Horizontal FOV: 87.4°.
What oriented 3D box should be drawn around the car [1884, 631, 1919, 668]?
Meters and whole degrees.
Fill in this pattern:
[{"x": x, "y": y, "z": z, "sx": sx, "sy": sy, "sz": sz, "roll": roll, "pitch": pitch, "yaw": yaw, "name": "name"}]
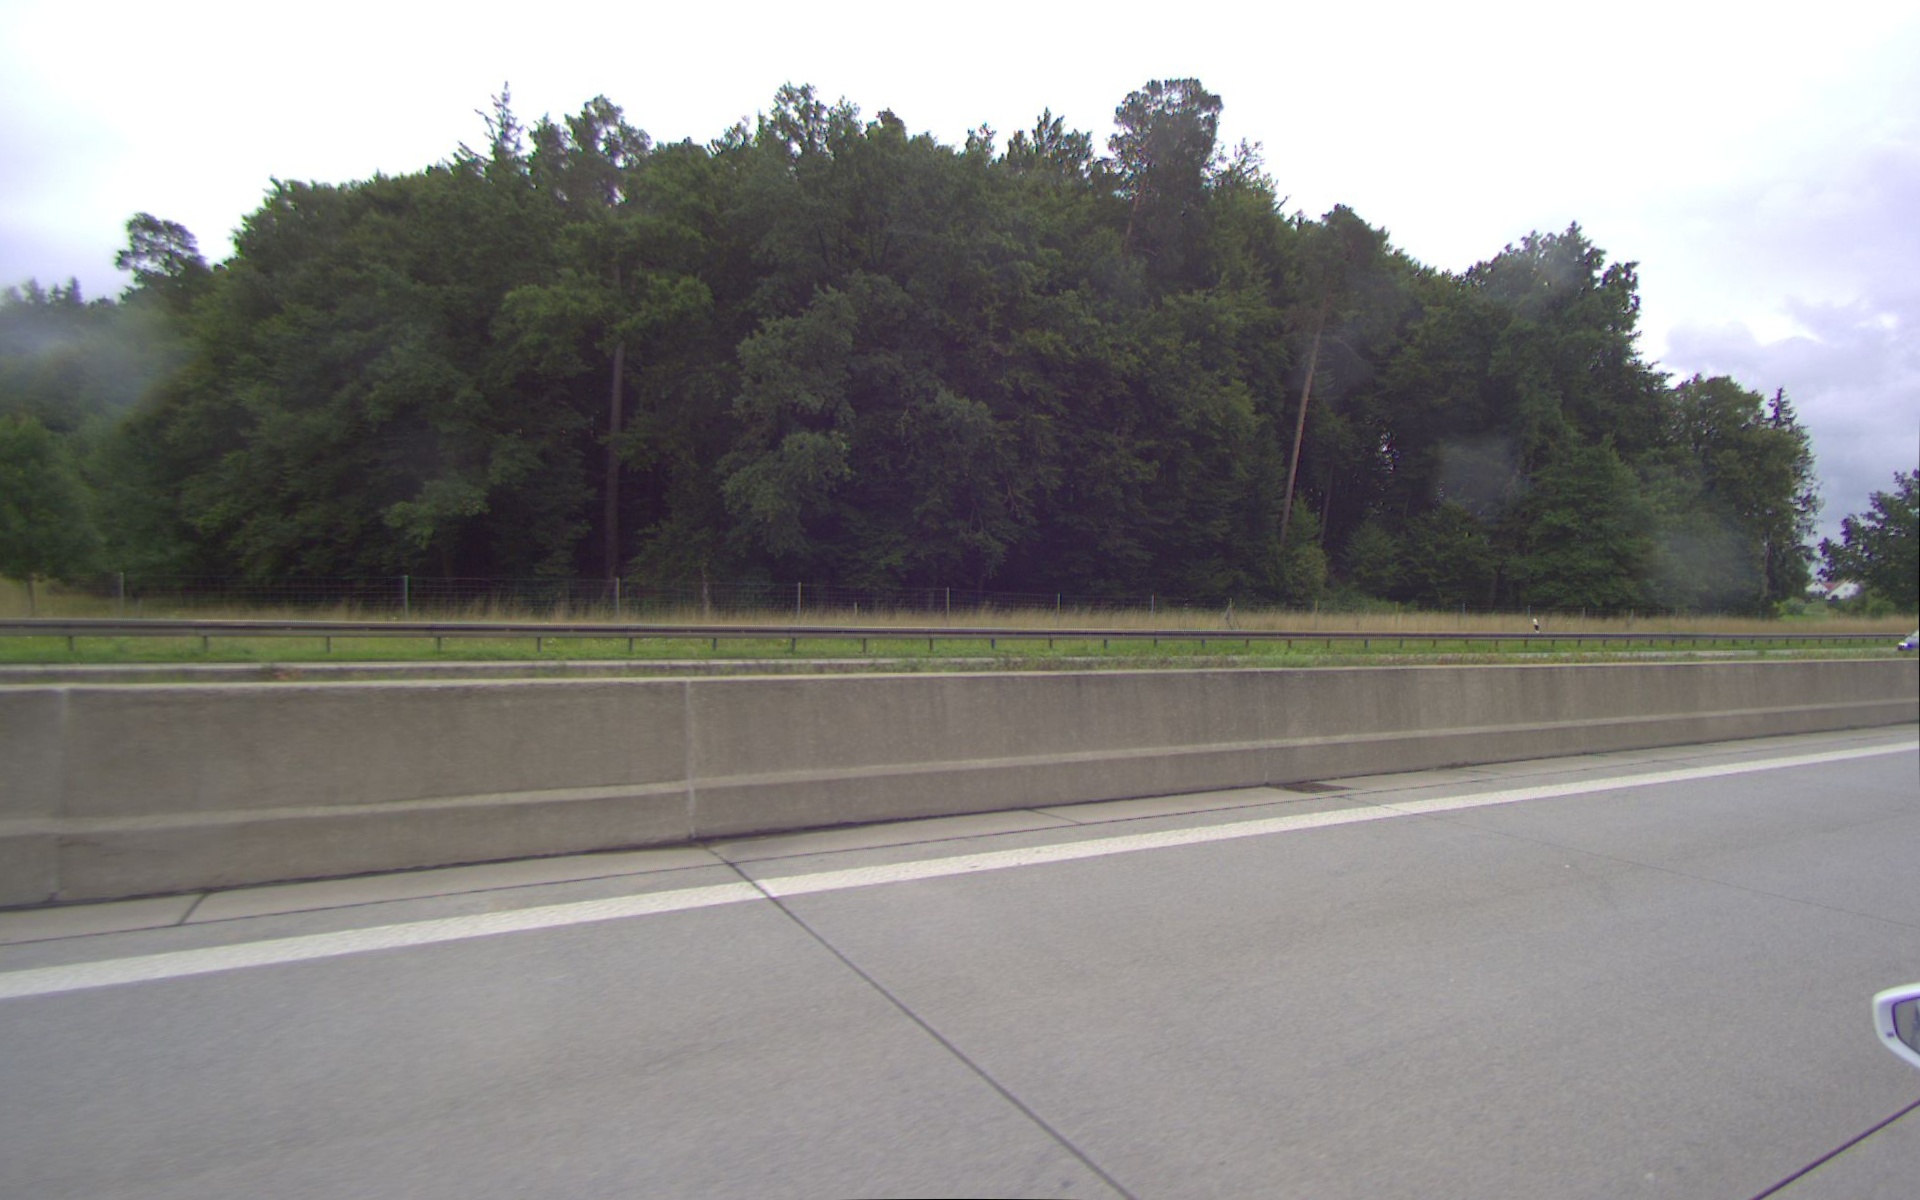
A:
[{"x": 39.195, "y": 2.002, "z": 40.474, "sx": 4.389, "sy": 1.395, "sz": 1.837, "roll": 2, "pitch": 0, "yaw": -33, "name": "car"}]
